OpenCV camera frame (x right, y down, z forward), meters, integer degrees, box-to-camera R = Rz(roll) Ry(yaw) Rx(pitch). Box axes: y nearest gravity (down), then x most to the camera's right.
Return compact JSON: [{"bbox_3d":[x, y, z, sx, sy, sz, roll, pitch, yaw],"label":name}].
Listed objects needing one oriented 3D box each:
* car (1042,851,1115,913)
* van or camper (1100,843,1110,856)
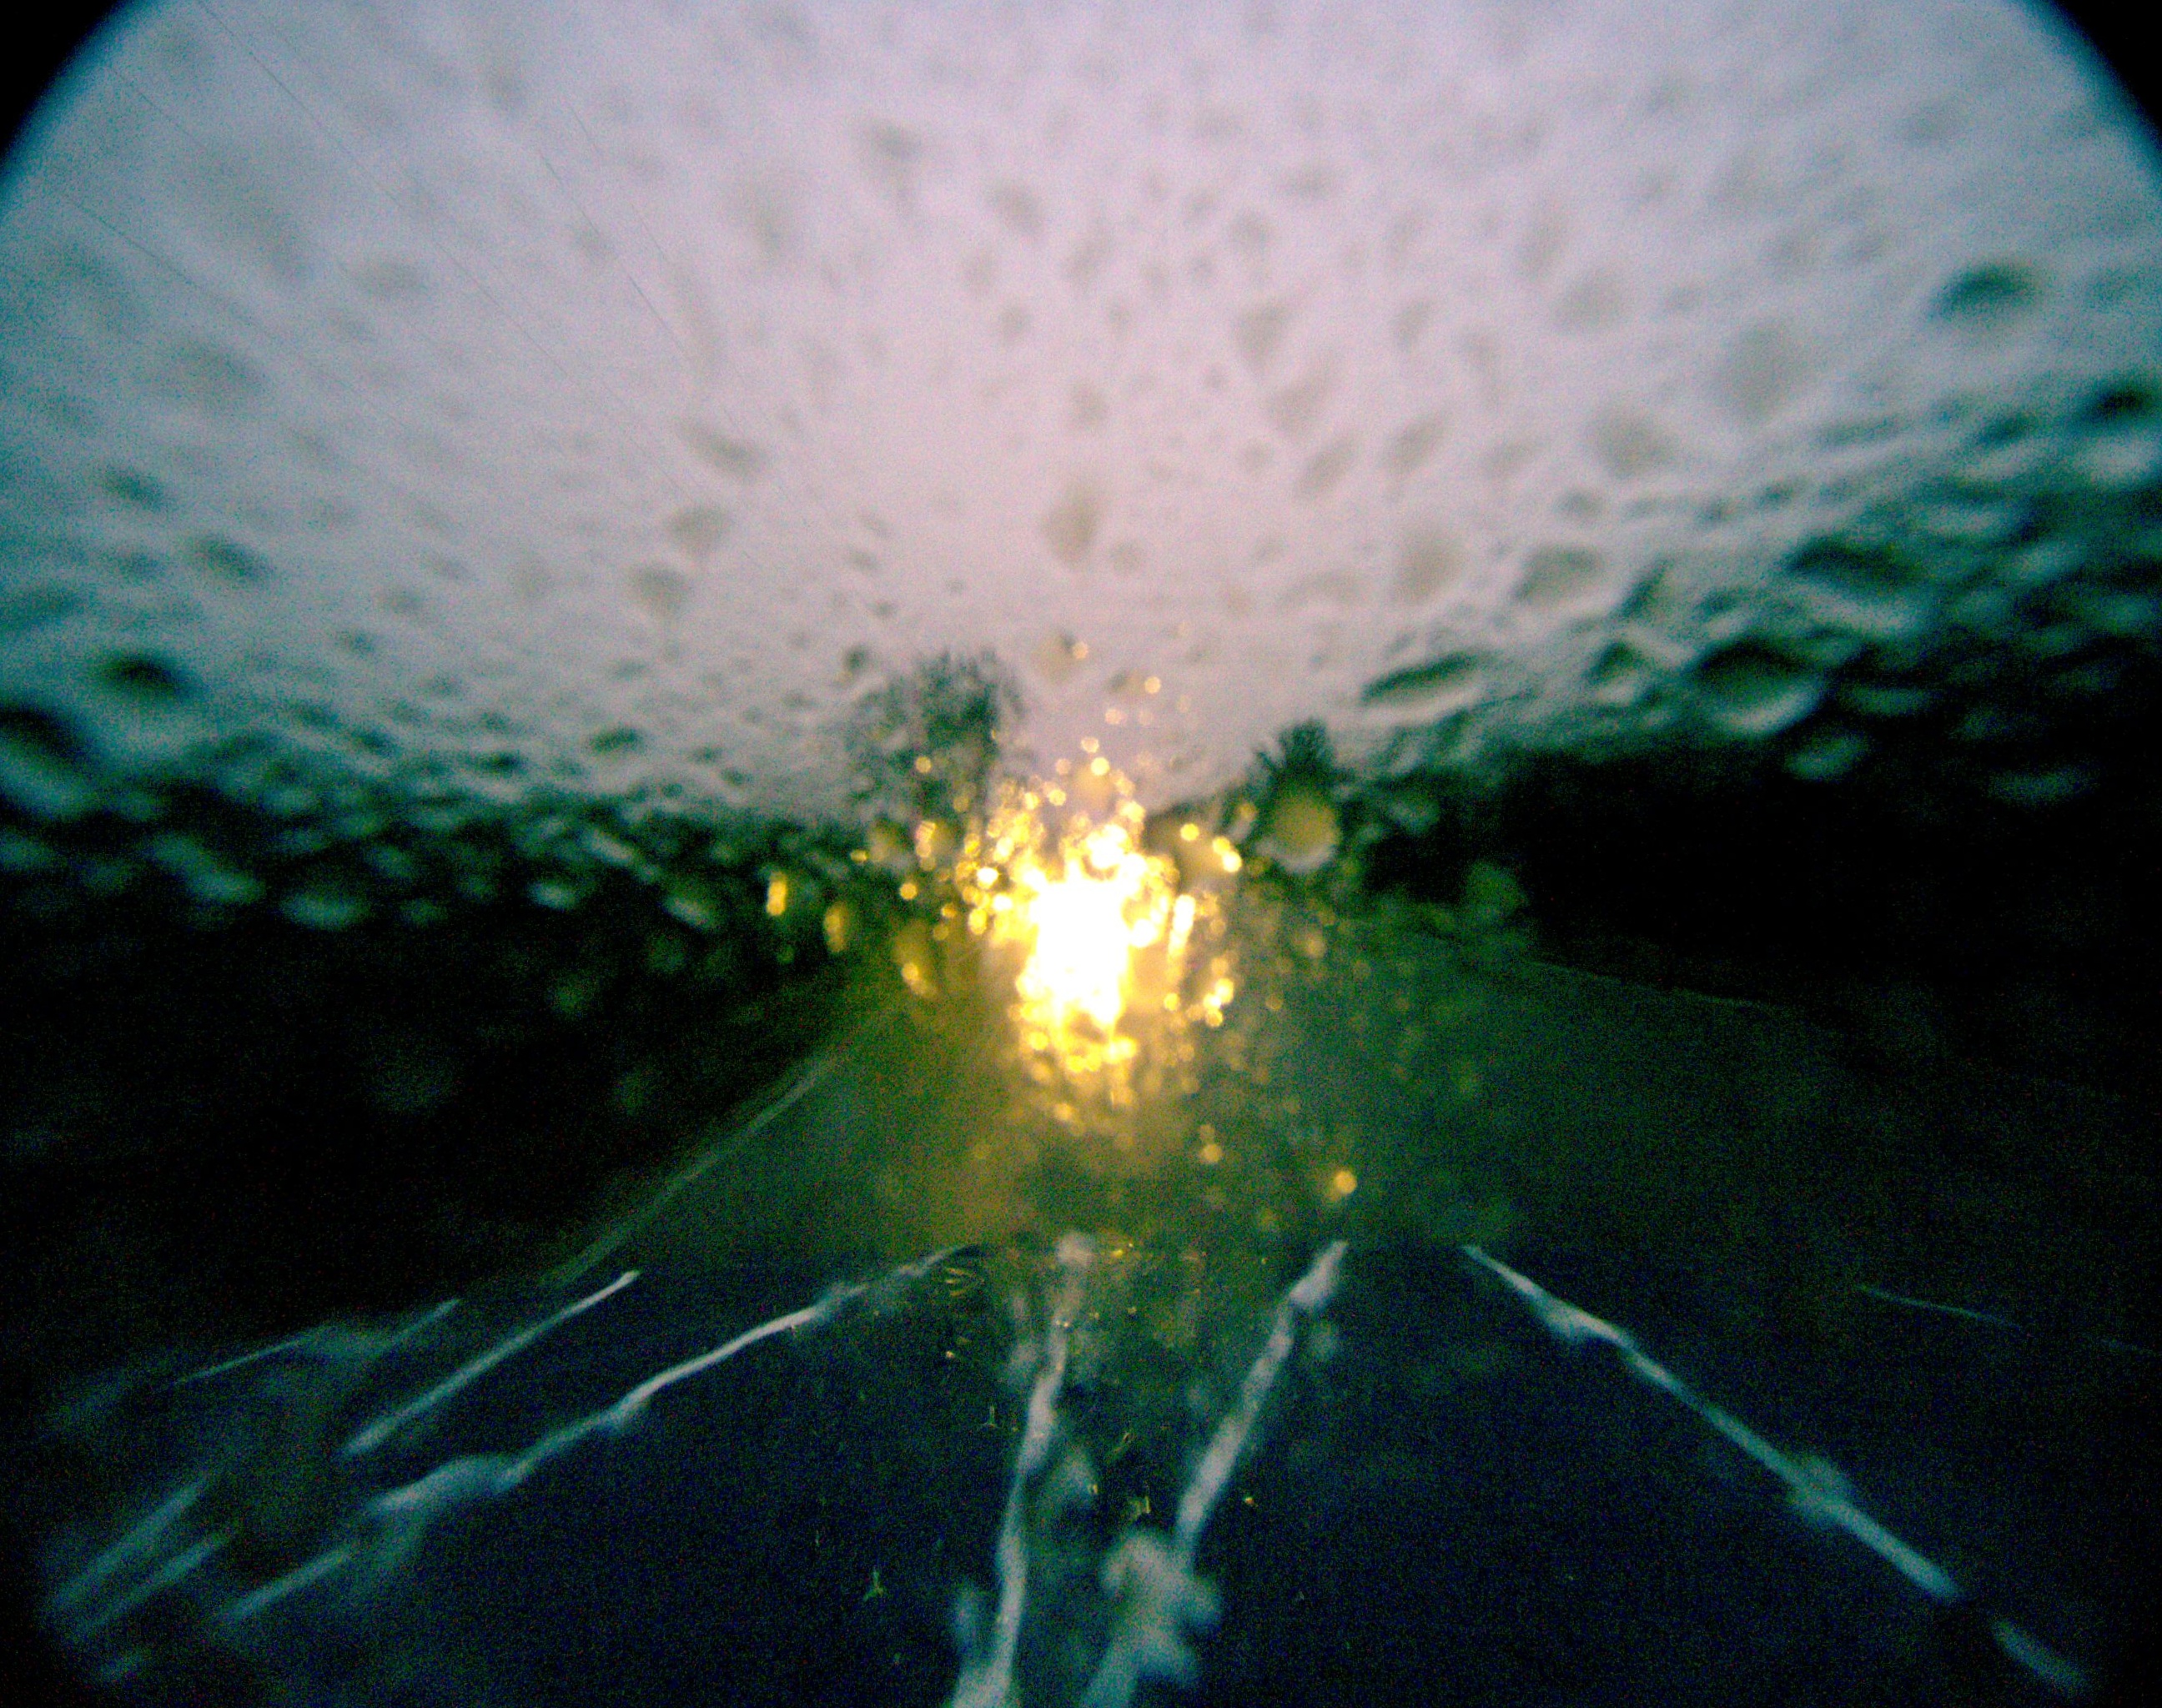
[{"bbox_3d":[0.007,0.789,23.548,1.909,1.653,4.001,-2,1,4],"label":"car"},{"bbox_3d":[5.158,-0.992,164.672,2.026,2.760,6.743,-1,0,1],"label":"van or camper"}]
